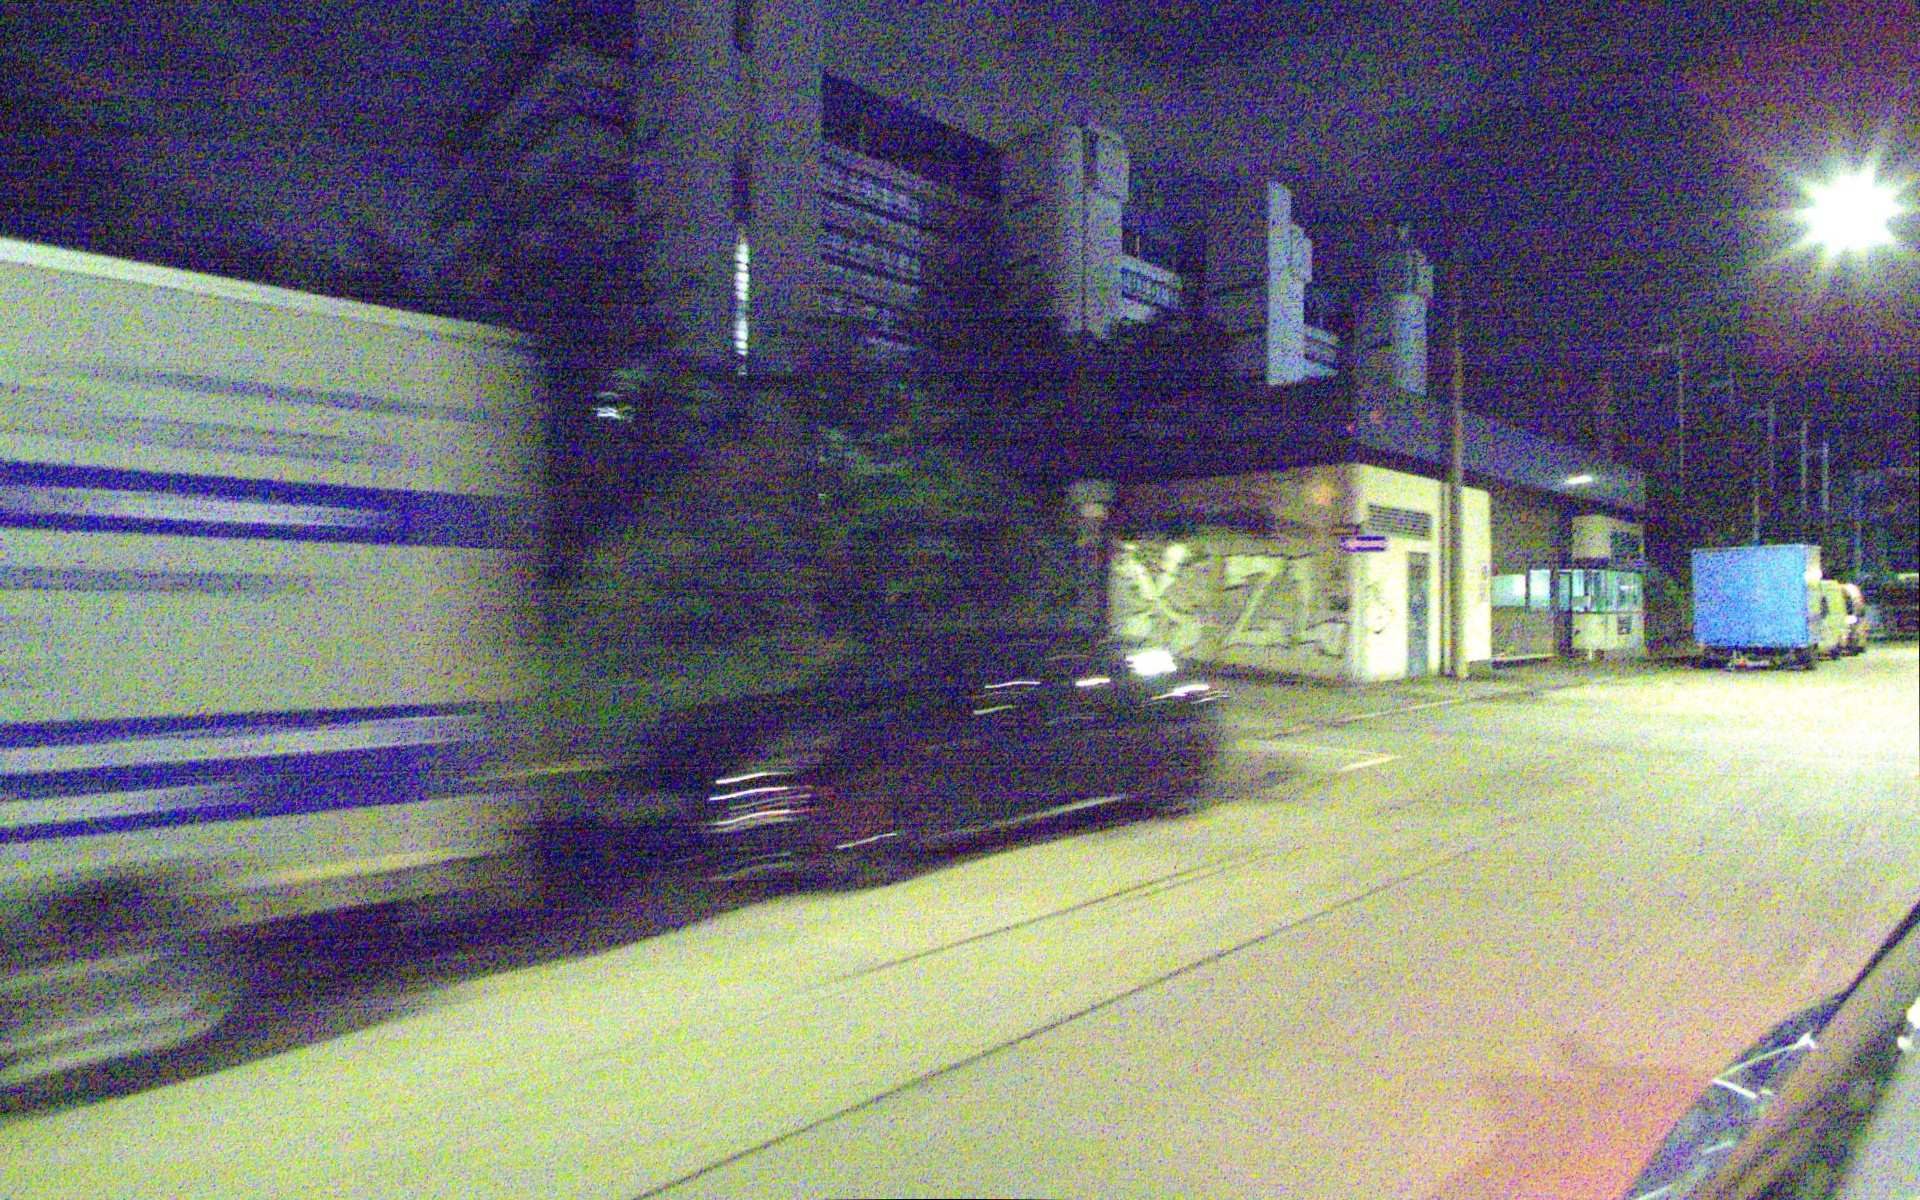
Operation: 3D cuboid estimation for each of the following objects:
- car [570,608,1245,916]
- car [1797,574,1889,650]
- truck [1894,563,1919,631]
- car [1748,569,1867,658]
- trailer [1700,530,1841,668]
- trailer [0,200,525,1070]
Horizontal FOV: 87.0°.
[{"bbox_3d":[-0.067,0.798,6.988,4.597,1.404,1.728,0,-2,-42],"label":"car"},{"bbox_3d":[32.501,0.414,37.188,5.926,2.581,1.994,0,-2,-44],"label":"car"},{"bbox_3d":[59.889,-0.237,61.442,12.426,3.887,2.515,-1,-2,-38],"label":"truck"},{"bbox_3d":[27.064,0.395,32.204,6.532,2.581,1.943,0,-2,-42],"label":"car"},{"bbox_3d":[21.739,-0.004,27.093,2.398,3.368,4.291,-3,-2,45],"label":"trailer"},{"bbox_3d":[-3.914,0.125,3.632,3.928,2.685,1.997,0,-2,-39],"label":"trailer"}]
